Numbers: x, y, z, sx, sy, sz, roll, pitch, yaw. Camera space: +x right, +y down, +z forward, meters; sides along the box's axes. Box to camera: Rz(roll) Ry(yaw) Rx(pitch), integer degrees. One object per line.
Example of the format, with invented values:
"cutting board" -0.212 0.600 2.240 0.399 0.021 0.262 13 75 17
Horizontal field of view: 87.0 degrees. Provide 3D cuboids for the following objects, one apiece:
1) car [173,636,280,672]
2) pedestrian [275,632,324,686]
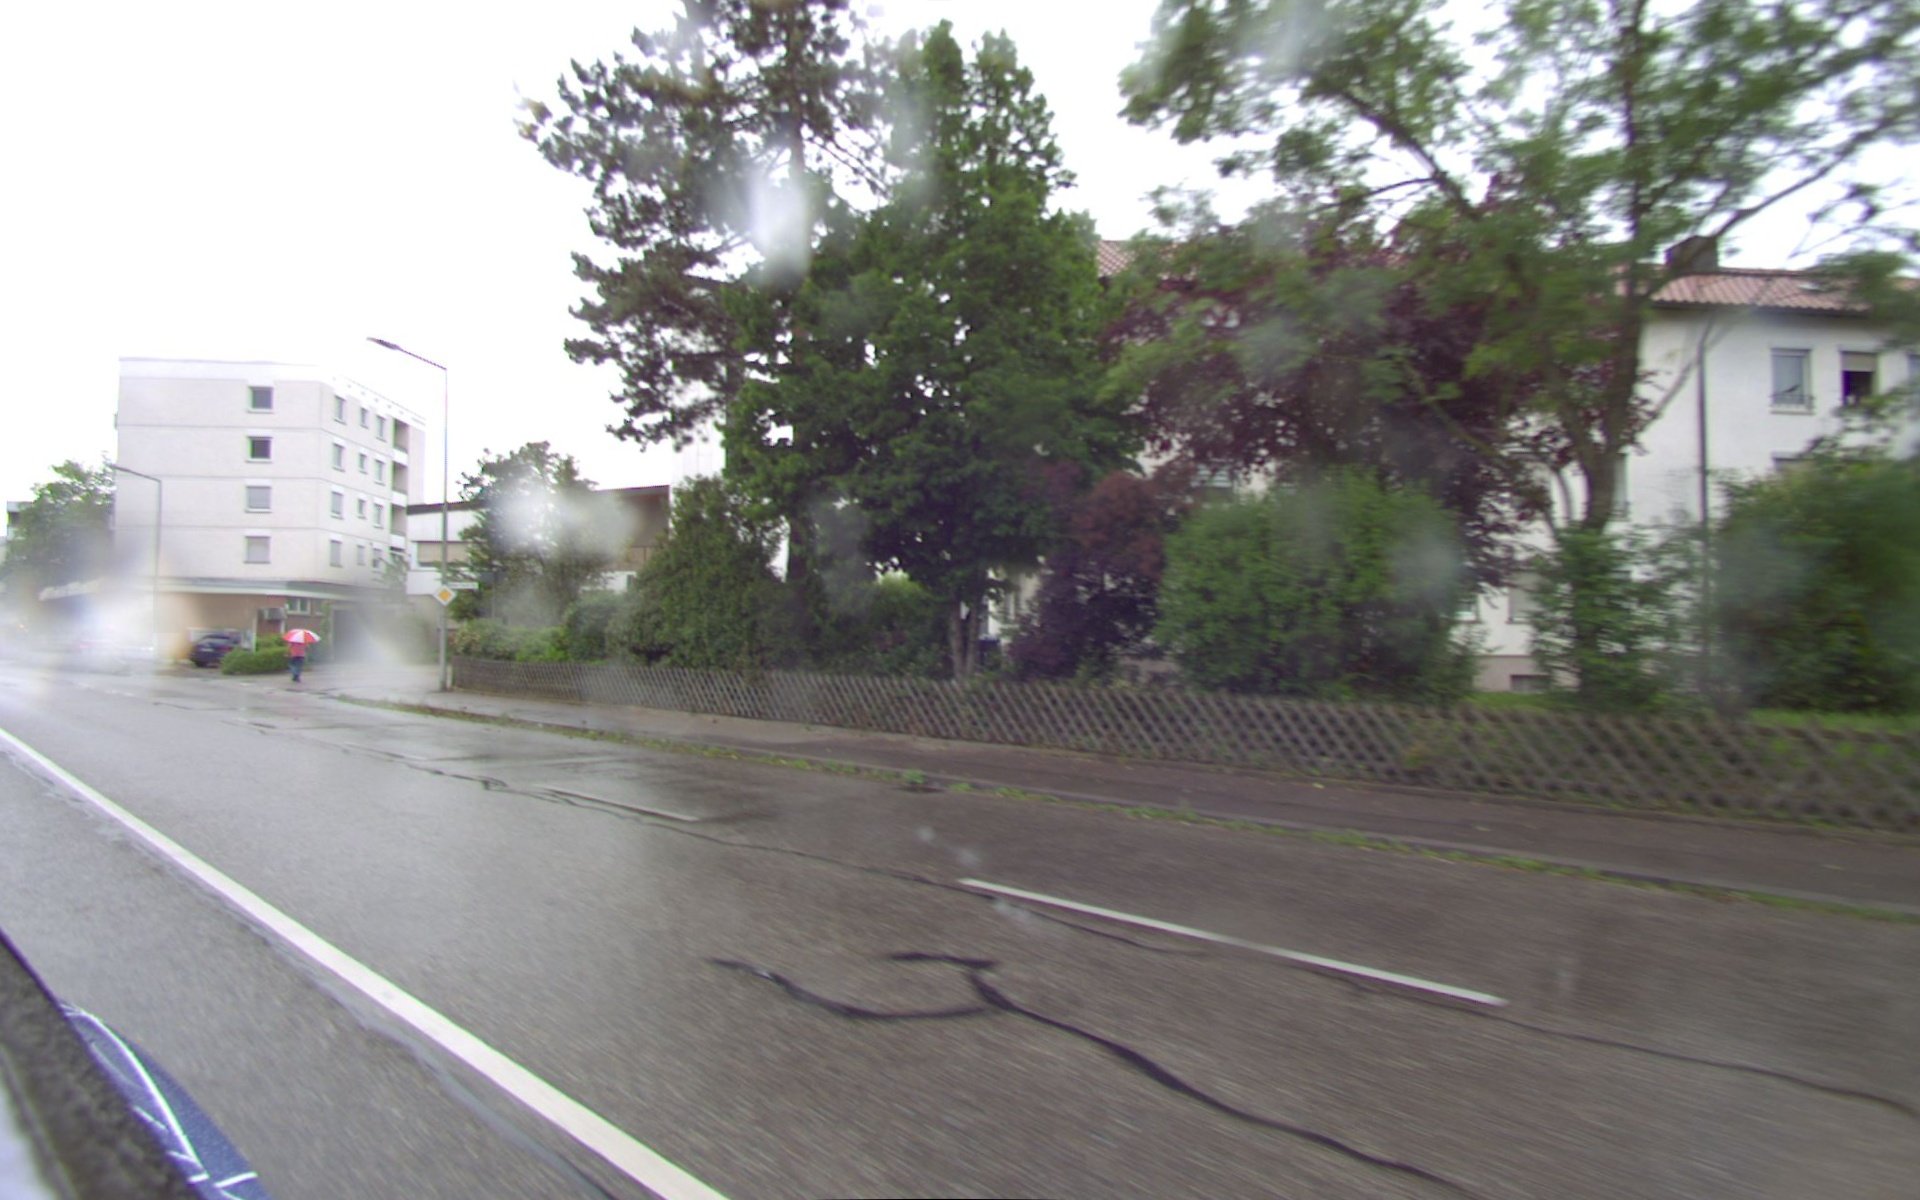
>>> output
"car" -33.038 2.411 45.763 1.969 1.558 4.478 0 -2 -7
"pedestrian" -20.303 1.801 31.112 1.100 1.619 0.862 -1 -2 34
